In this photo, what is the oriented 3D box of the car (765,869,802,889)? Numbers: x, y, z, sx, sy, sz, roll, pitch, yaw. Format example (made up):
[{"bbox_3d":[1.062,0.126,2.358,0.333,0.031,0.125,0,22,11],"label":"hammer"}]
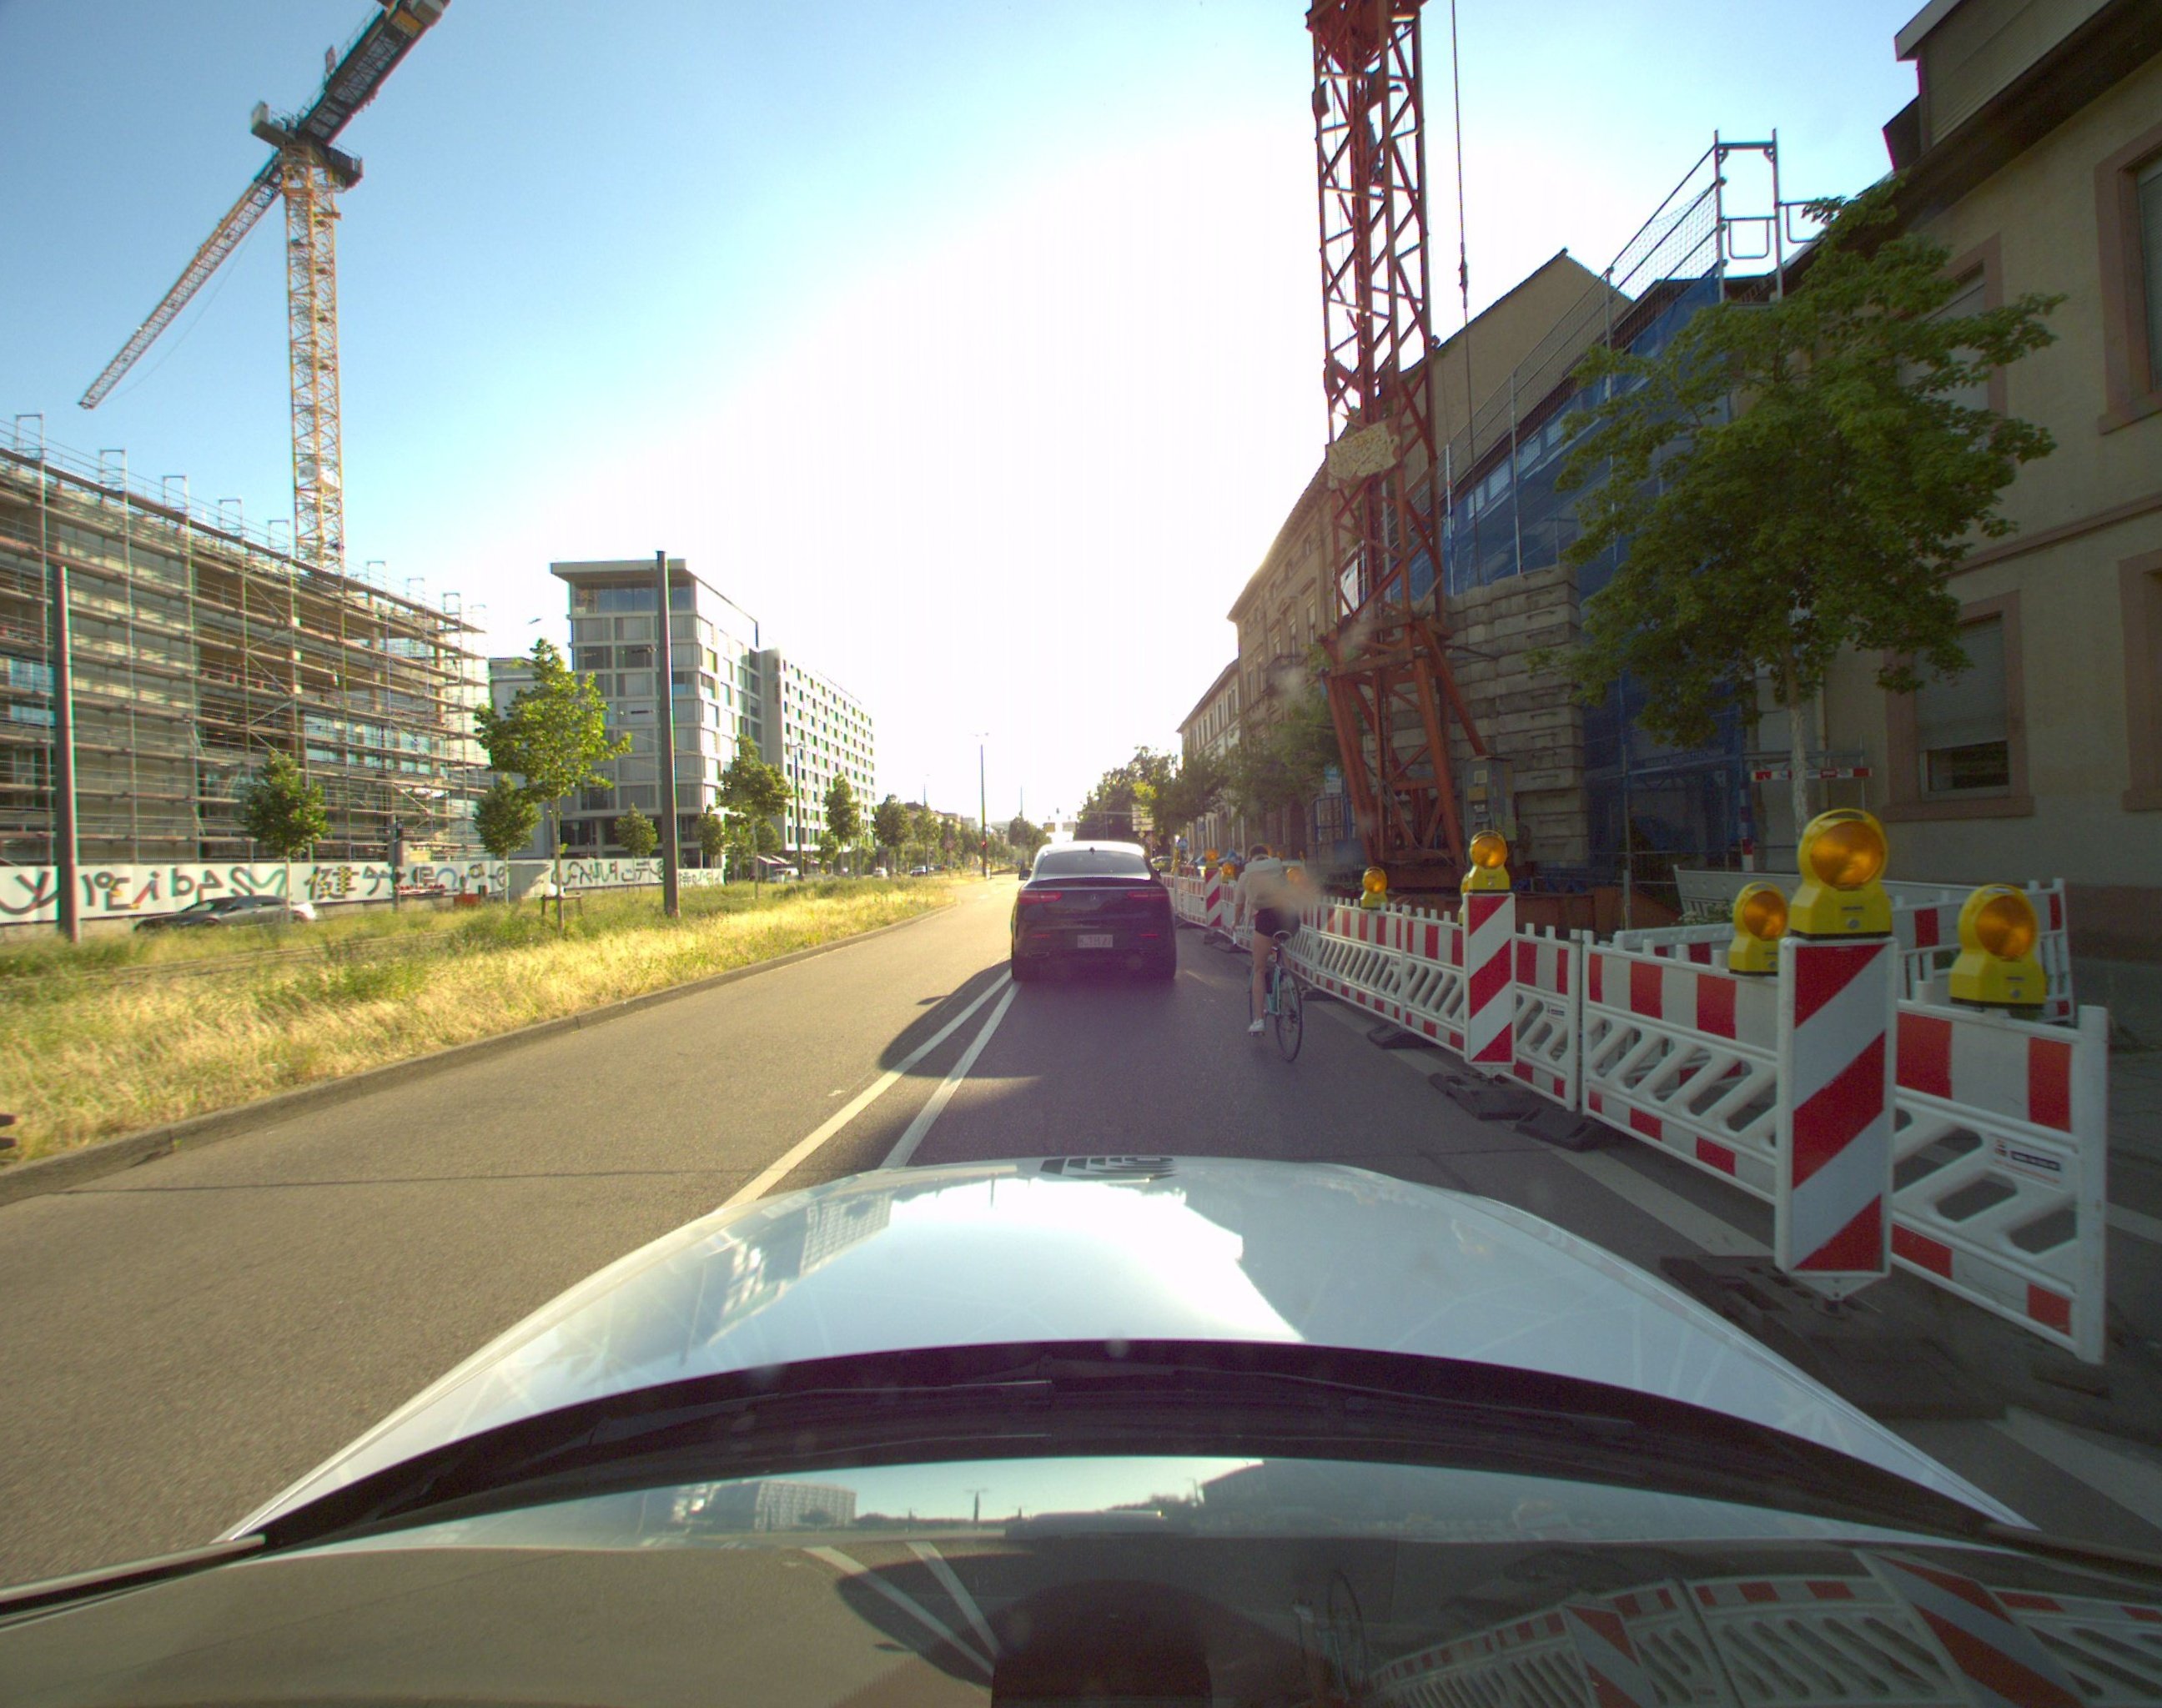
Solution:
[{"bbox_3d":[-27.230,2.267,74.731,1.781,1.684,3.643,-1,-1,5],"label":"car"}]

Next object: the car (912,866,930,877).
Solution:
[{"bbox_3d":[-21.634,2.405,110.234,1.703,1.442,3.582,-1,0,0],"label":"car"}]

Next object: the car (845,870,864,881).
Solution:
[{"bbox_3d":[-31.599,2.939,113.678,1.703,1.442,3.582,-1,0,0],"label":"car"}]

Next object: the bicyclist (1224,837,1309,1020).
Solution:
[{"bbox_3d":[1.472,0.570,6.536,0.521,1.395,0.614,-1,-1,-1],"label":"bicyclist"}]

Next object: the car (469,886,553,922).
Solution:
[{"bbox_3d":[-29.967,2.605,42.941,1.783,1.684,3.639,-1,-1,1],"label":"car"}]

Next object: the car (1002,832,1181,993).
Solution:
[{"bbox_3d":[0.193,0.670,11.114,1.986,1.772,4.002,-1,0,2],"label":"car"}]

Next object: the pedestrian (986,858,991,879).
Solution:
[{"bbox_3d":[-7.963,1.234,70.228,0.333,1.763,0.418,-1,-1,0],"label":"pedestrian"}]

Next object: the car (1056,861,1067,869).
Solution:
[{"bbox_3d":[-3.429,1.915,144.326,1.703,1.442,3.582,-1,0,0],"label":"car"}]

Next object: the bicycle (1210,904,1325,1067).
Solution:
[{"bbox_3d":[1.462,0.985,6.646,0.510,1.052,1.724,-1,-1,-1],"label":"bicycle"}]

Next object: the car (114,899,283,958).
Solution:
[{"bbox_3d":[-30.221,2.502,28.065,1.783,1.684,3.639,-1,-1,1],"label":"car"}]

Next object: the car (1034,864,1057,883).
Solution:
[{"bbox_3d":[-2.969,1.613,67.760,1.703,1.442,3.582,-2,0,0],"label":"car"}]

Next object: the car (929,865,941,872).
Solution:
[{"bbox_3d":[-29.902,2.943,166.705,1.703,1.442,3.582,-1,0,0],"label":"car"}]
